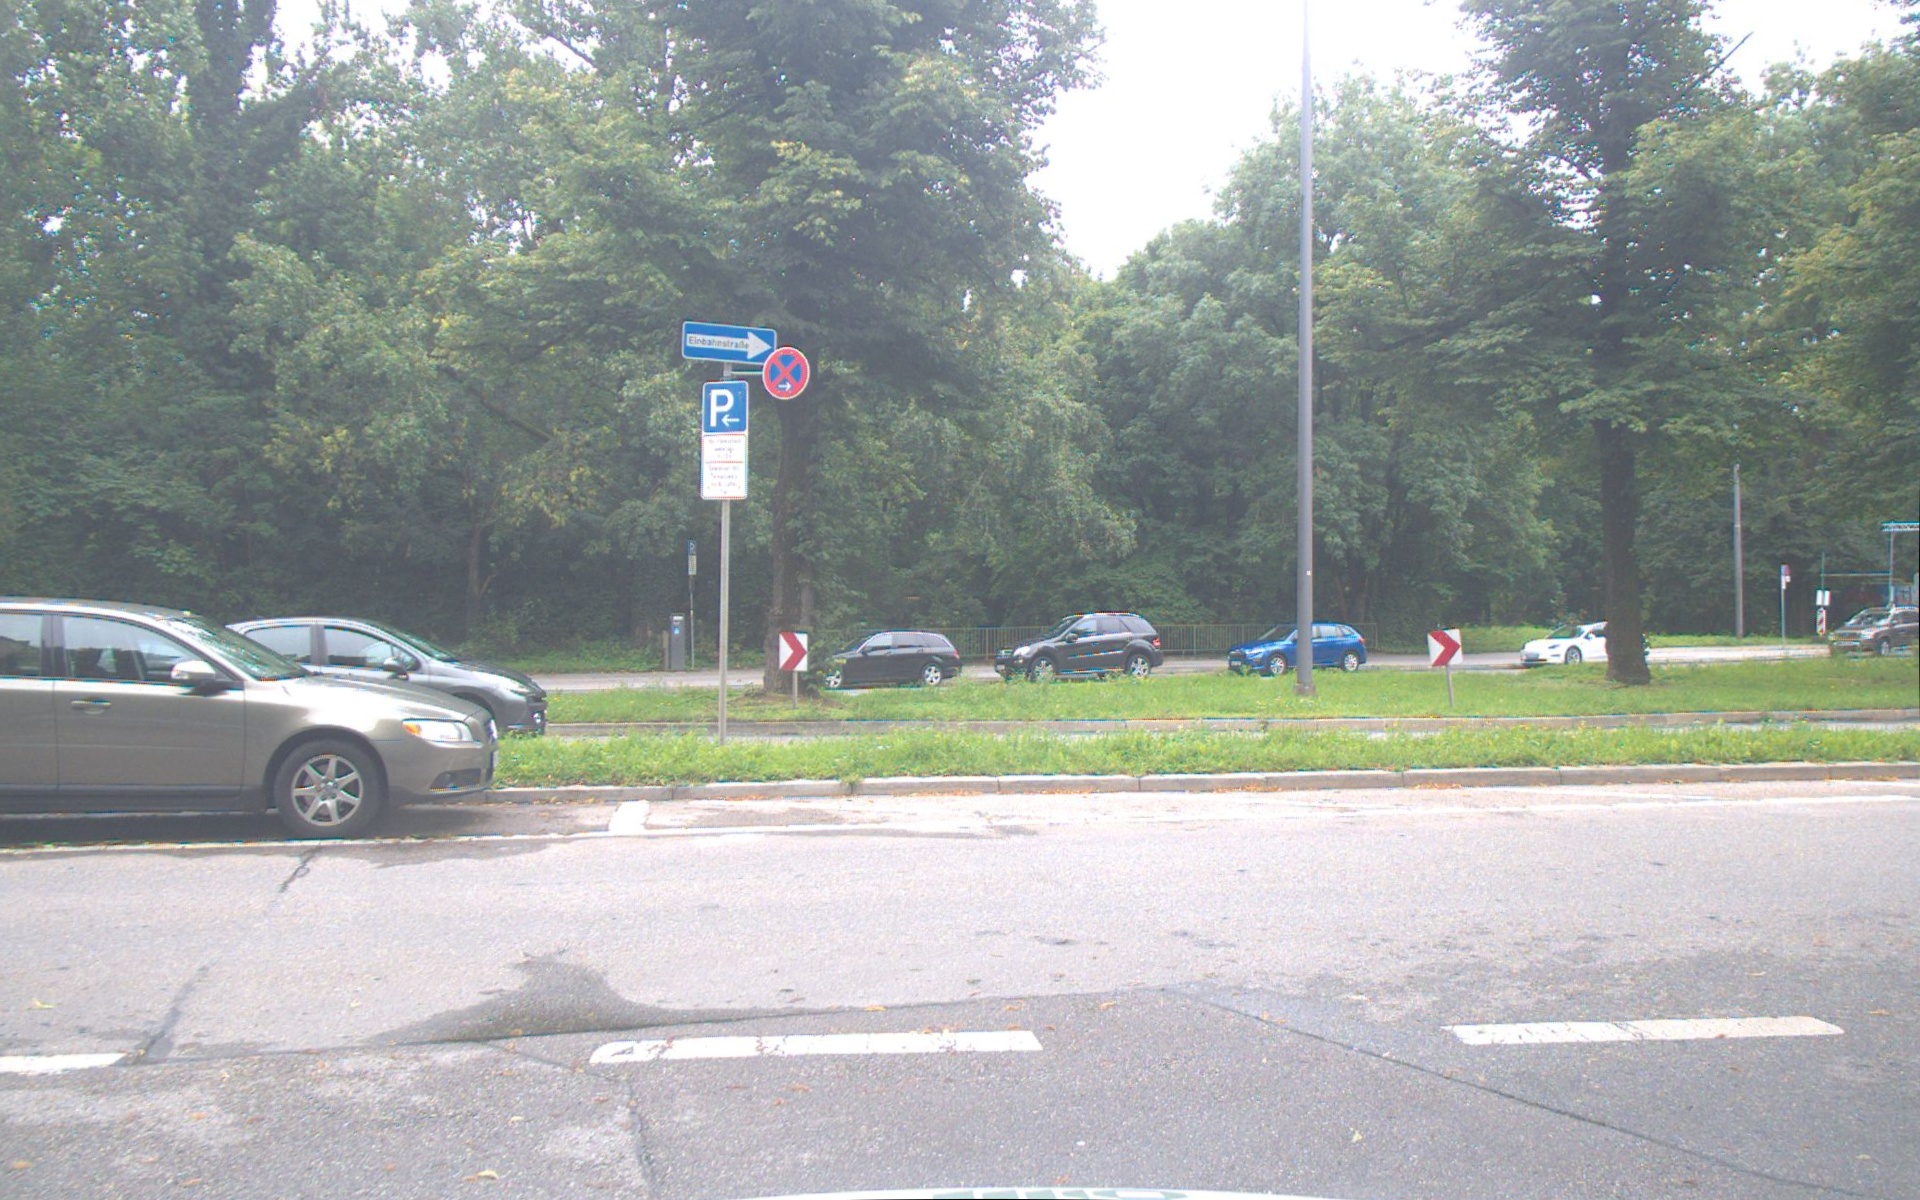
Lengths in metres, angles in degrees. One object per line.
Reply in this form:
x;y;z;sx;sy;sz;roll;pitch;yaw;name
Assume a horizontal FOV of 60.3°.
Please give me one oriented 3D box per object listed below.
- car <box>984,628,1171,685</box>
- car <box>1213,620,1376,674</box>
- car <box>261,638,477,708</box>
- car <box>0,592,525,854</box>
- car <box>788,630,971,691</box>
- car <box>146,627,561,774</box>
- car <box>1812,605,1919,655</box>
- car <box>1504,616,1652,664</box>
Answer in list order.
3.162;1.496;44.361;4.694;1.472;1.983;0;-2;-26;car
9.635;1.343;47.640;4.357;1.472;1.982;0;-2;-27;car
-13.191;1.614;37.126;4.443;1.472;1.988;0;-2;-20;car
-5.411;0.764;11.093;4.669;1.592;1.900;0;-1;-11;car
-2.044;1.525;41.994;4.251;1.472;1.983;0;-2;-26;car
-6.462;1.042;18.051;3.987;1.486;1.760;0;-1;-11;car
33.510;1.098;60.375;4.578;1.748;1.982;0;-2;-27;car
19.634;1.279;52.538;4.357;1.472;1.982;0;-2;-27;car
